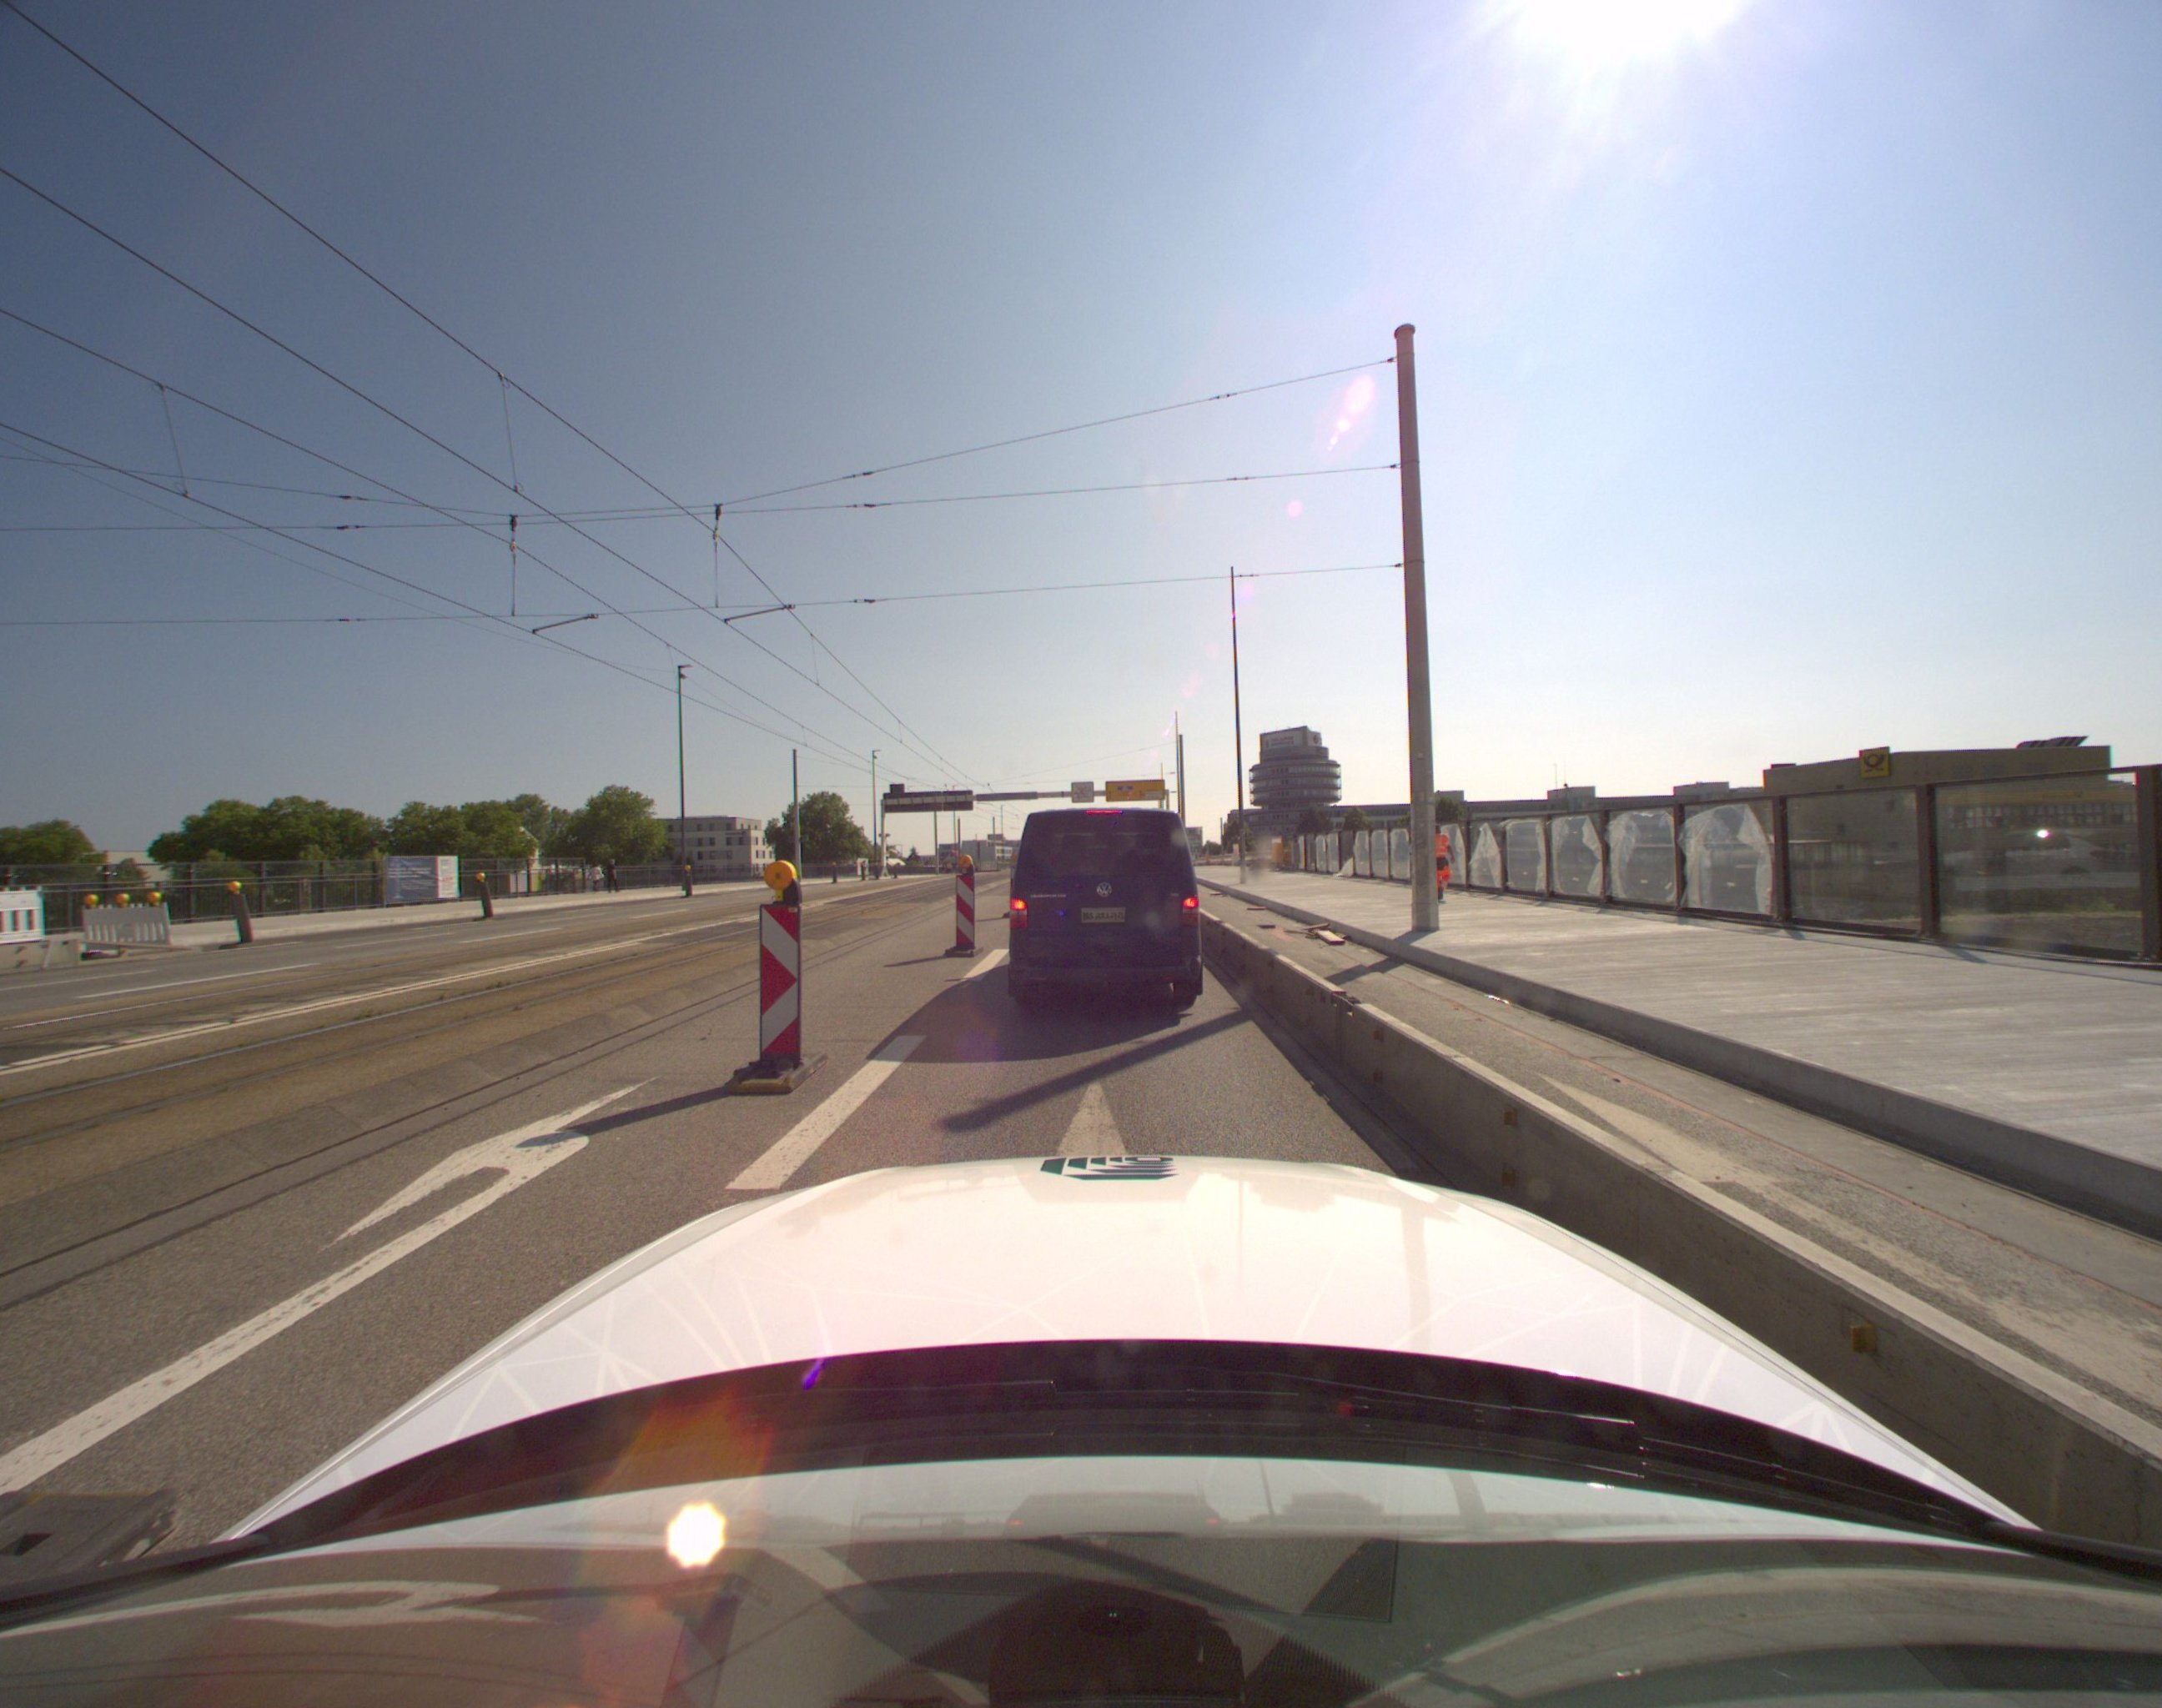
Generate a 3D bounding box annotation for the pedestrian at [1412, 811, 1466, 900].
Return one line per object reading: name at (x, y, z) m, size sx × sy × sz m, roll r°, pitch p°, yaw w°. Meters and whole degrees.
pedestrian at (8.083, 0.028, 18.397) m, size 0.779 × 1.935 × 0.800 m, roll -3°, pitch -1°, yaw 1°

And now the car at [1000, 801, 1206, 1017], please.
car at (0.289, 0.498, 9.350) m, size 1.808 × 1.905 × 4.057 m, roll -1°, pitch 0°, yaw 3°

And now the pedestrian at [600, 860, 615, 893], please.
pedestrian at (-24.416, 1.158, 42.000) m, size 0.493 × 1.694 × 0.474 m, roll 0°, pitch -1°, yaw 1°

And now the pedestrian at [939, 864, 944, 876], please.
pedestrian at (-20.782, 2.337, 121.130) m, size 0.632 × 1.752 × 0.752 m, roll -1°, pitch 0°, yaw 1°

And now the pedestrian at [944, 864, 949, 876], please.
pedestrian at (-20.047, 2.371, 121.197) m, size 0.631 × 1.774 × 0.752 m, roll -1°, pitch 0°, yaw 1°

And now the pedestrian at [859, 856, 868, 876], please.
pedestrian at (-21.039, 1.123, 78.695) m, size 0.631 × 1.893 × 0.752 m, roll -1°, pitch 0°, yaw 1°

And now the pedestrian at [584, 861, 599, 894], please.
pedestrian at (-25.336, 1.199, 42.157) m, size 0.493 × 1.694 × 0.474 m, roll 0°, pitch -1°, yaw 1°
